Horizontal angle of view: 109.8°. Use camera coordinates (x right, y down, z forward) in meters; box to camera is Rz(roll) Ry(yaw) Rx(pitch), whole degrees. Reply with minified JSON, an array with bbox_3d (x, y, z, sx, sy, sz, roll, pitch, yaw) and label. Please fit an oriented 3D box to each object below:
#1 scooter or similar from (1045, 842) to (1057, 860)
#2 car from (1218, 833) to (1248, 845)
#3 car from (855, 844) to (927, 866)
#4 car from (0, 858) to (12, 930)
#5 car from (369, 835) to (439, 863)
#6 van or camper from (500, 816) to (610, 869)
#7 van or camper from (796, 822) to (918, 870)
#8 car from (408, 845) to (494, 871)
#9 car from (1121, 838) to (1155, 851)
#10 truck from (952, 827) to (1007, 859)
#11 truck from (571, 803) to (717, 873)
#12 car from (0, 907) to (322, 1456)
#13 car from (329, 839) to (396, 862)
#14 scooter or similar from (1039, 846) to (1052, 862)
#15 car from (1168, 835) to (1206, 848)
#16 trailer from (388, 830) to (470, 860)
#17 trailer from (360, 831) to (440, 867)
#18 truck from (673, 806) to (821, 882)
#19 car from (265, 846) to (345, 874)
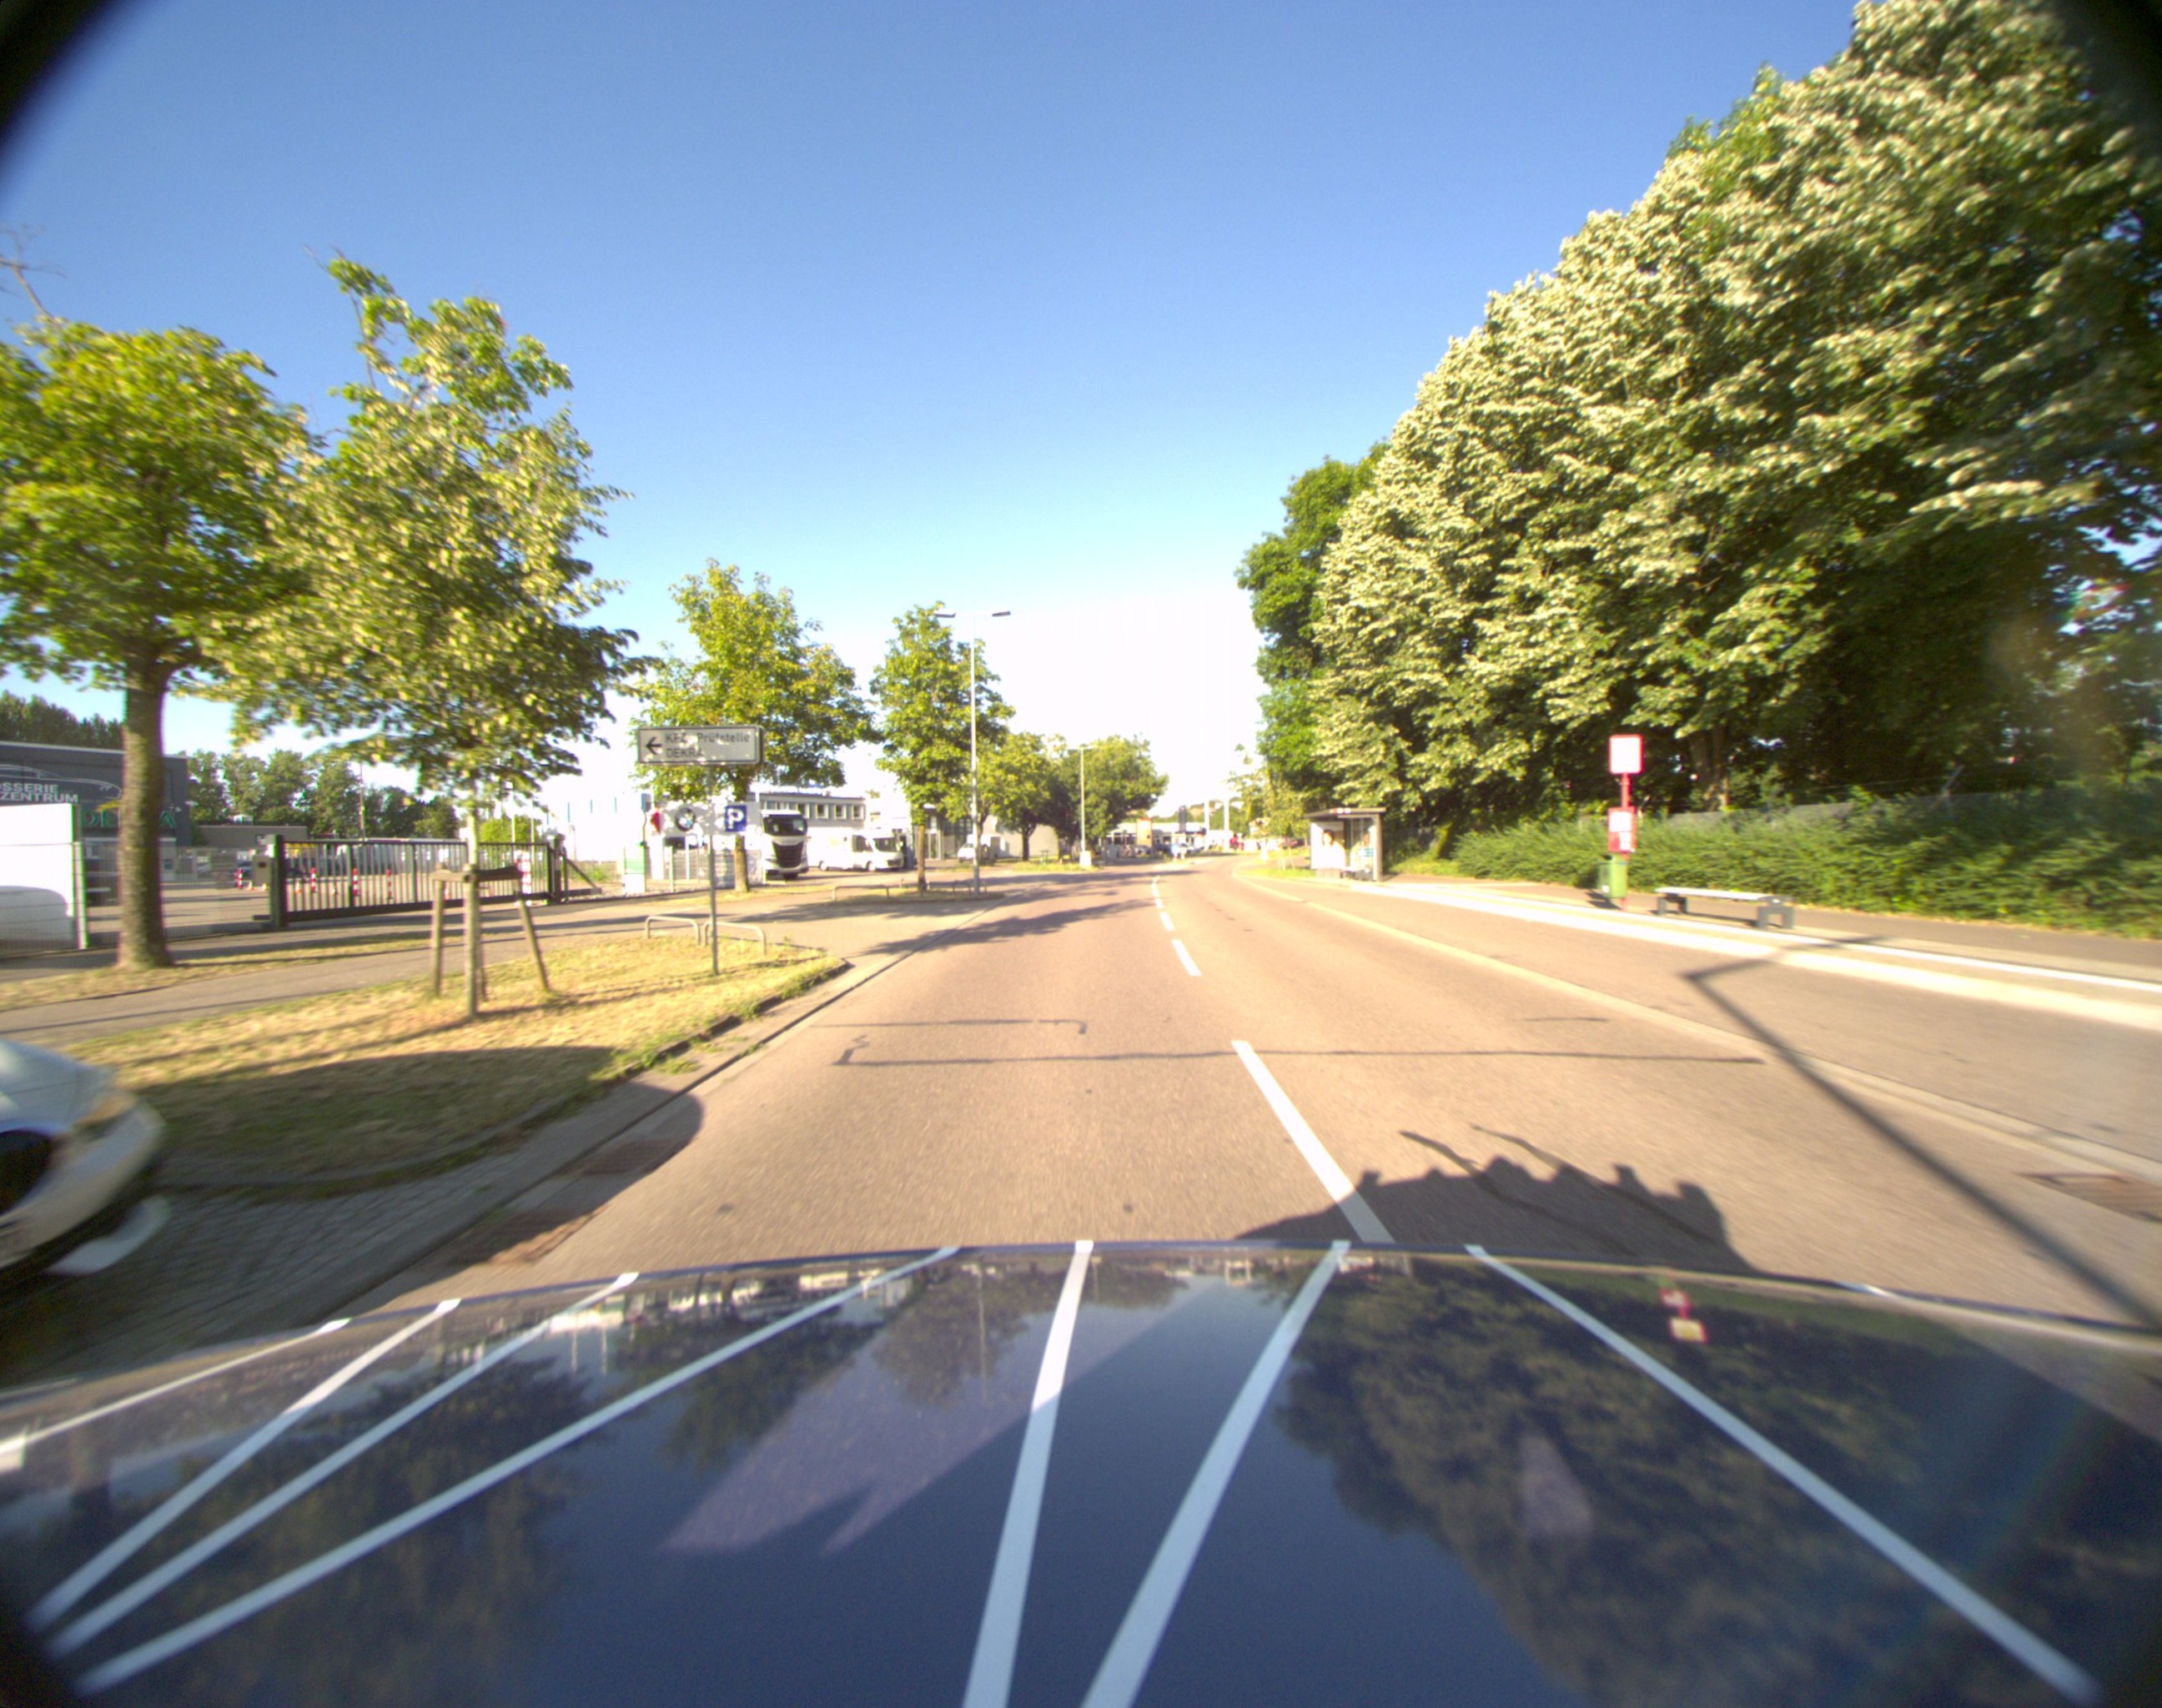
[{"bbox_3d":[-2.376,-0.240,60.112,0.547,1.328,1.483,0,1,15],"label":"scooter or similar"},{"bbox_3d":[25.899,-2.569,129.889,2.304,2.002,4.834,-2,1,-34],"label":"car"},{"bbox_3d":[-13.612,0.071,54.755,4.813,1.483,1.998,-1,2,-8],"label":"car"},{"bbox_3d":[-25.108,0.888,15.974,3.991,1.521,1.926,0,2,19],"label":"car"},{"bbox_3d":[-58.084,-0.455,65.211,2.083,2.265,4.007,0,2,32],"label":"car"},{"bbox_3d":[-35.203,-0.733,50.761,8.116,3.310,2.418,0,2,28],"label":"van or camper"},{"bbox_3d":[-14.549,-0.510,49.072,7.988,2.884,2.948,0,2,32],"label":"van or camper"},{"bbox_3d":[-52.087,0.313,62.902,1.994,2.002,5.060,0,1,31],"label":"car"},{"bbox_3d":[8.771,-1.439,117.602,4.833,2.002,2.304,0,2,40],"label":"car"},{"bbox_3d":[-8.931,-0.976,67.662,2.541,2.704,5.979,-1,1,17],"label":"truck"},{"bbox_3d":[-25.099,-0.855,43.367,10.090,3.624,3.301,0,2,36],"label":"truck"},{"bbox_3d":[-5.083,0.941,1.894,4.209,1.436,2.087,0,1,-1],"label":"car"},{"bbox_3d":[-65.942,-0.326,69.805,1.994,2.002,4.007,0,2,32],"label":"car"},{"bbox_3d":[-2.722,-0.006,58.556,0.547,1.190,1.483,0,1,15],"label":"scooter or similar"},{"bbox_3d":[16.482,-1.921,118.119,5.275,2.002,2.410,0,2,40],"label":"car"},{"bbox_3d":[-55.589,-0.780,64.892,1.994,2.423,4.867,0,2,32],"label":"trailer"},{"bbox_3d":[-60.408,-0.499,67.480,1.994,3.052,4.867,0,2,32],"label":"trailer"},{"bbox_3d":[-17.002,-0.506,38.426,8.229,3.502,3.121,0,2,37],"label":"truck"},{"bbox_3d":[-60.631,0.432,59.416,1.994,2.002,4.007,0,2,32],"label":"car"}]
